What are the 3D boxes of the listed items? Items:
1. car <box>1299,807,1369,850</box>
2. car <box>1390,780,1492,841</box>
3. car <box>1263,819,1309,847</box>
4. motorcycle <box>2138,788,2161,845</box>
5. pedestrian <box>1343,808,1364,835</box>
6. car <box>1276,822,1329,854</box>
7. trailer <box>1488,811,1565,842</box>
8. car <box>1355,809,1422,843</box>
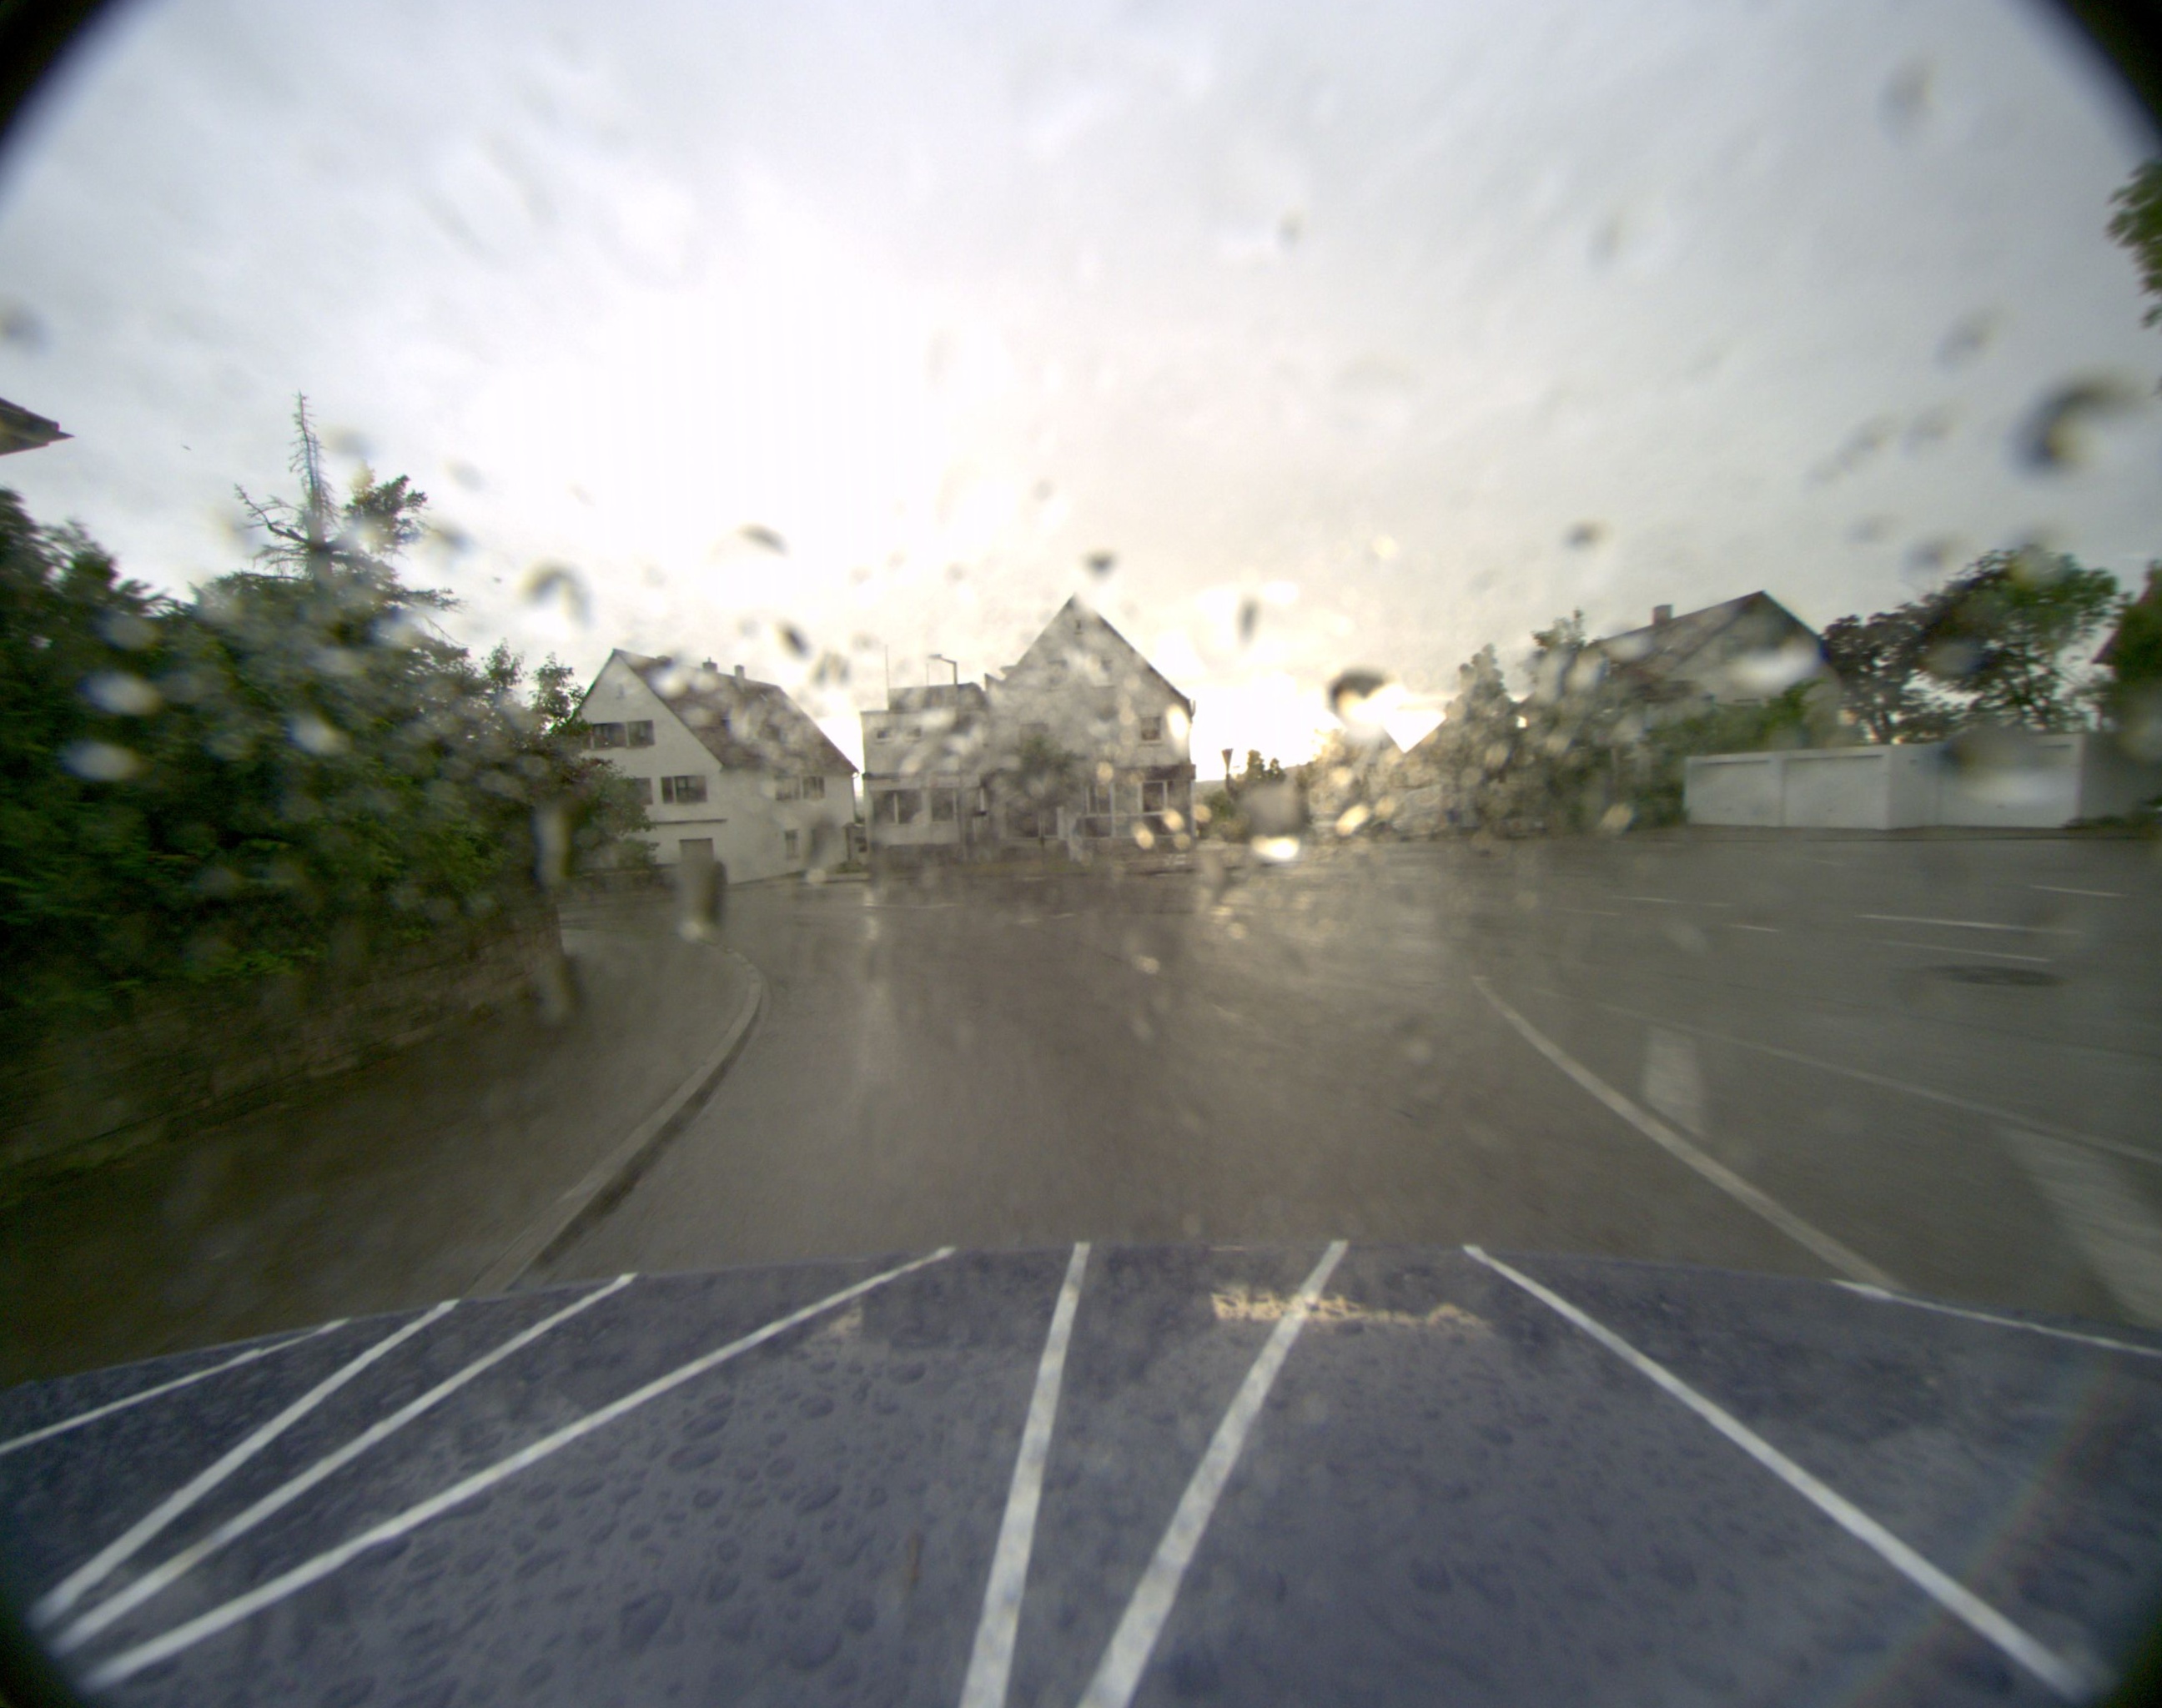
[{"bbox_3d":[11.494,-1.203,34.856,2.065,1.696,4.794,-3,3,7],"label":"car"},{"bbox_3d":[17.020,-2.031,36.383,2.189,2.509,6.252,-4,3,4],"label":"car"},{"bbox_3d":[12.637,-1.346,47.059,2.065,1.501,4.482,-3,2,7],"label":"car"},{"bbox_3d":[26.063,-0.902,17.468,0.710,1.315,2.040,-6,3,-38],"label":"motorcycle"},{"bbox_3d":[16.037,-1.921,44.771,0.825,1.502,0.977,-4,3,3],"label":"pedestrian"},{"bbox_3d":[11.978,-0.921,41.362,2.065,1.501,4.482,-3,2,7],"label":"car"},{"bbox_3d":[16.994,-1.046,29.108,1.591,1.001,2.824,-4,2,10],"label":"trailer"},{"bbox_3d":[17.469,-1.615,43.422,2.065,1.696,4.792,-4,2,3],"label":"car"}]
